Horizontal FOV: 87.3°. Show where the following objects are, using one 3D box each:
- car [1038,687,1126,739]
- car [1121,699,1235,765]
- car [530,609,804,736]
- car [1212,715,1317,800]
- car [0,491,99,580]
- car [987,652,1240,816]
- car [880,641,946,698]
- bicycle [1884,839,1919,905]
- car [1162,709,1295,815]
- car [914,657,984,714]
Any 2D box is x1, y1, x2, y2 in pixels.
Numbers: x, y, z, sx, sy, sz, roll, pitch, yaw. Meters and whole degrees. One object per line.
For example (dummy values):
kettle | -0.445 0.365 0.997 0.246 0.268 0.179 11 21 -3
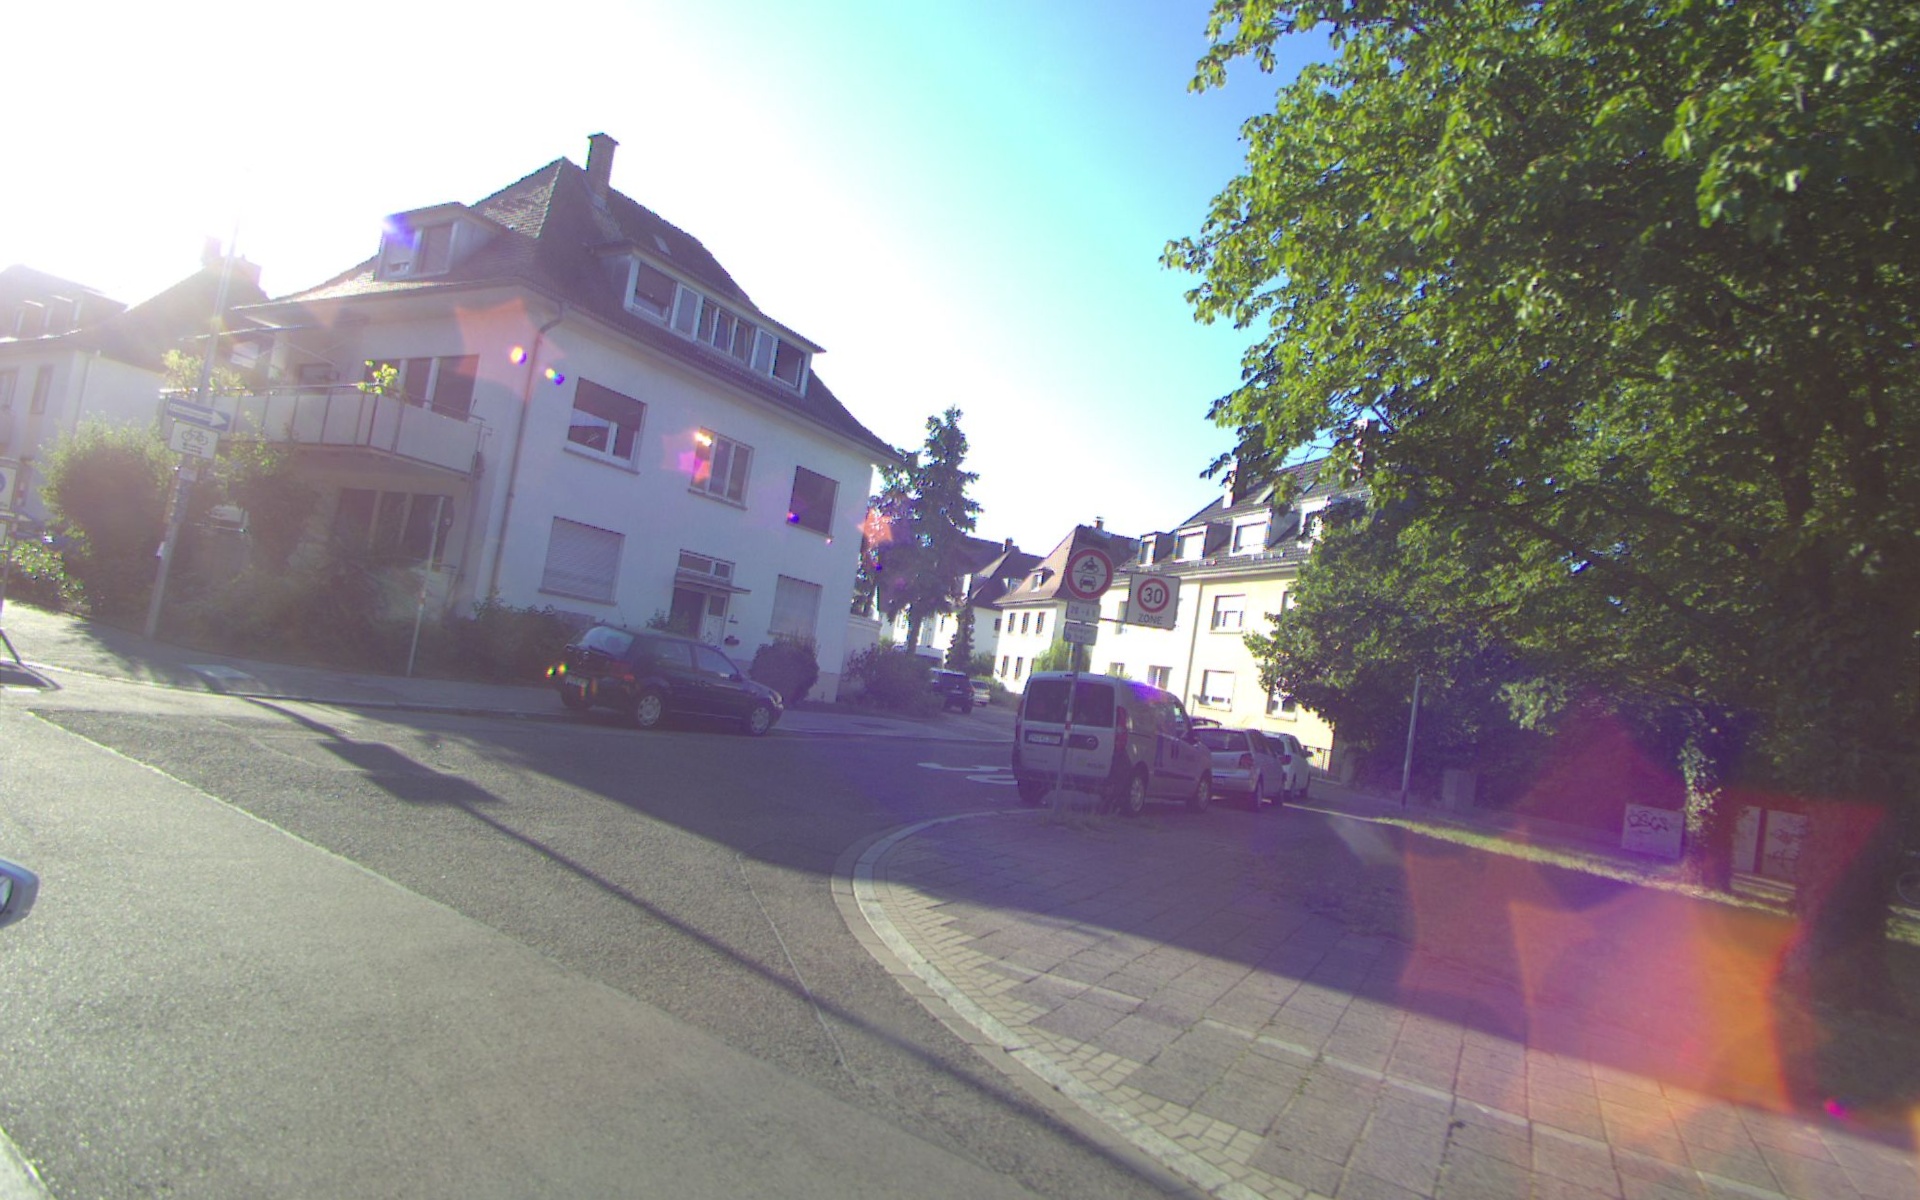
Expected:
car | 5.206 4.844 43.500 1.974 1.586 4.094 11 -4 -19
car | 7.450 4.515 34.776 1.972 1.568 3.990 11 -4 -16
car | -4.541 1.245 16.188 1.688 1.461 4.001 6 -6 32
car | 6.991 3.615 22.854 1.497 1.538 3.941 6 -7 27
car | -23.916 -1.721 24.483 1.730 1.839 4.003 1 -7 28
car | 2.471 2.069 15.193 1.998 1.893 4.254 6 -6 34
car | -2.394 3.456 49.703 2.082 2.358 4.517 11 -6 -13
bicycle | 20.691 5.835 20.983 1.922 1.251 0.450 7 -4 31
car | 5.110 3.018 18.816 1.577 1.531 3.569 7 -5 27
car | -0.531 3.698 43.425 1.969 2.031 4.000 11 -6 -11
